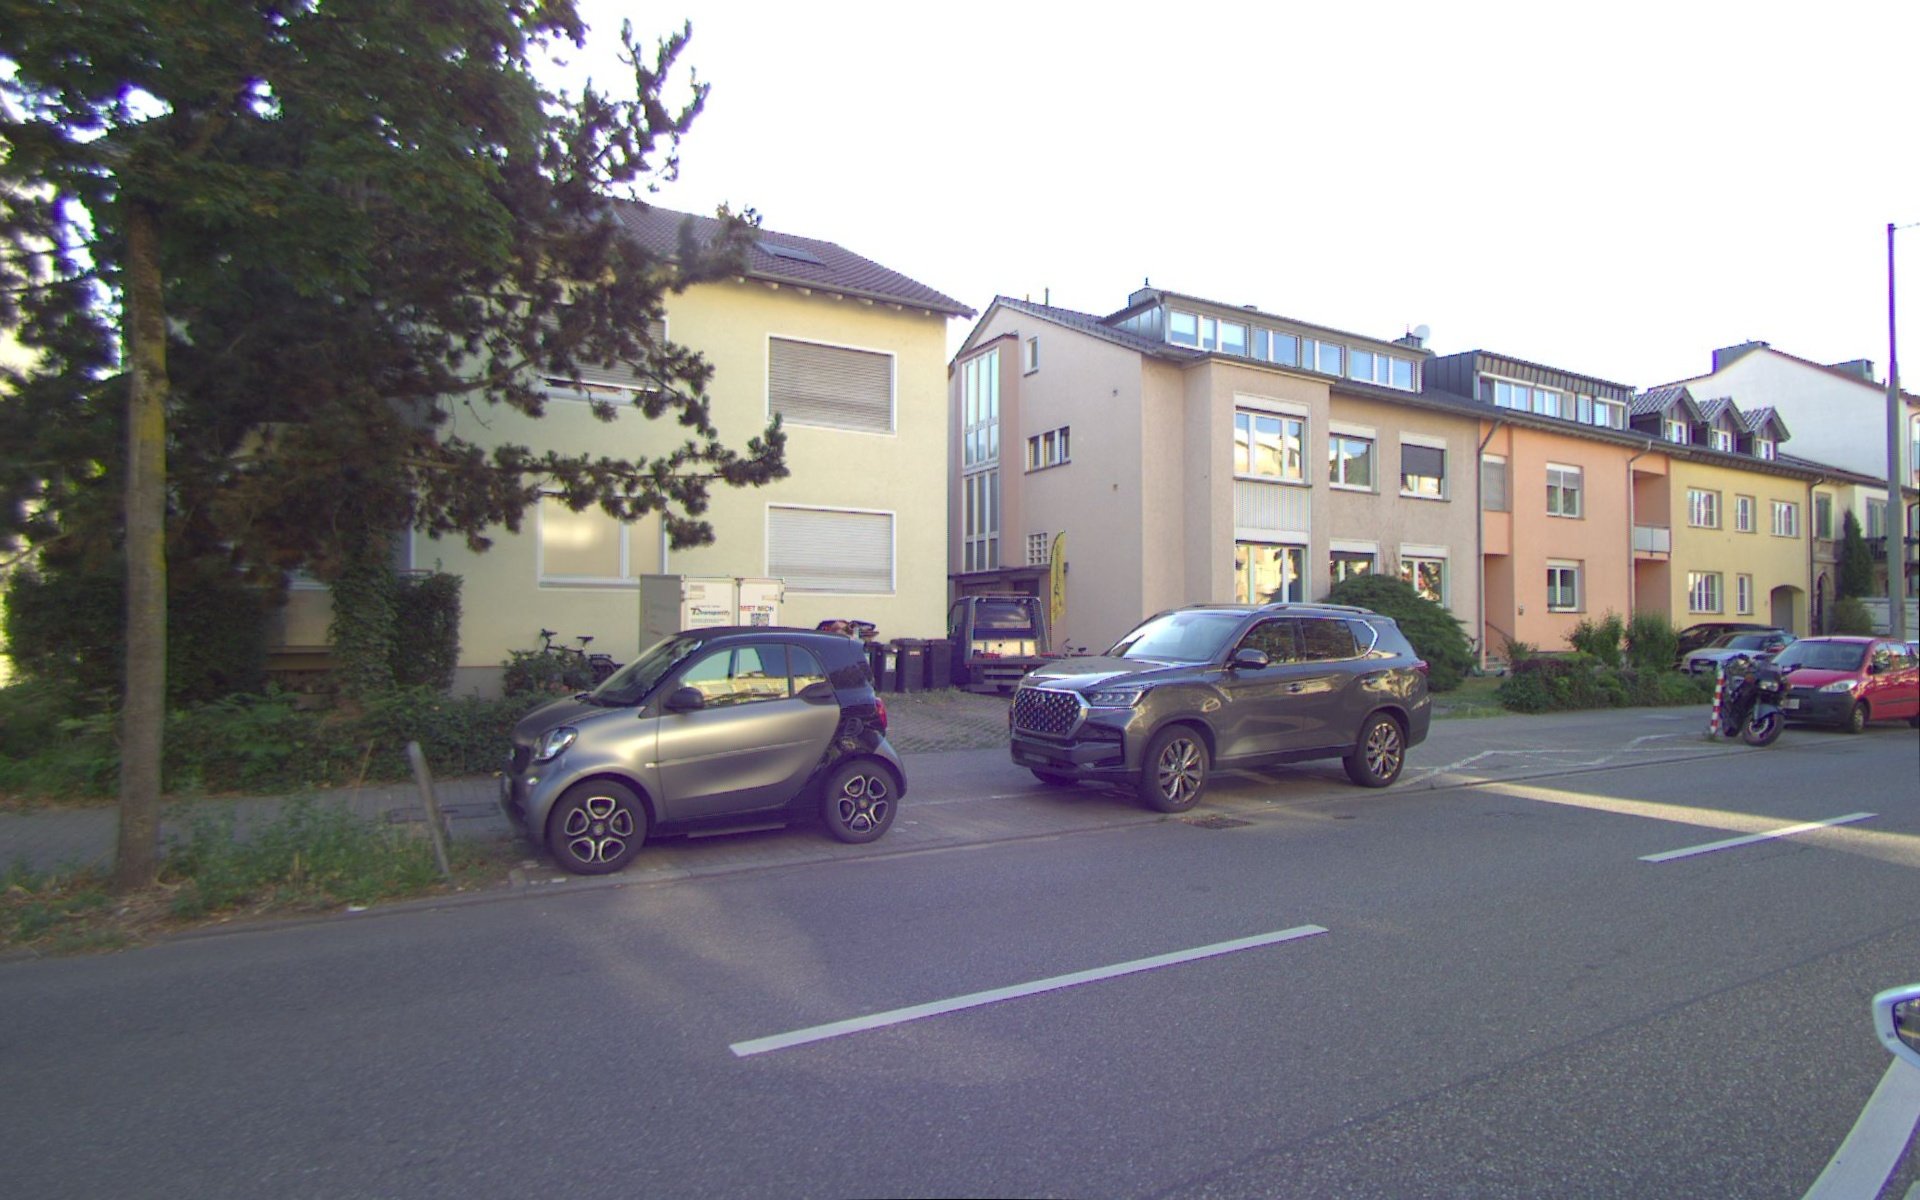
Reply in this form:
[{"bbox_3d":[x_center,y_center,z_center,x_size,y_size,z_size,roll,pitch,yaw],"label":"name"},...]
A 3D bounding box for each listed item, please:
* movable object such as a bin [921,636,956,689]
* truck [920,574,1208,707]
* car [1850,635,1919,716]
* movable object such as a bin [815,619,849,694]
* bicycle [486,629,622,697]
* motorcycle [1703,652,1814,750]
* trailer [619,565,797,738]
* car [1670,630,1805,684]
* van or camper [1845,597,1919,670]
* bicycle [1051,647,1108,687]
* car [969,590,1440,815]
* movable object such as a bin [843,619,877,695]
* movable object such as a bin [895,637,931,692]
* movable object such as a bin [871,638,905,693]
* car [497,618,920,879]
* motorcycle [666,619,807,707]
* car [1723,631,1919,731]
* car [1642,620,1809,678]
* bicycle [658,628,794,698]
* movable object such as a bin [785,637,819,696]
[{"bbox_3d":[-0.425,1.229,19.919,0.543,1.044,0.478,1,-2,-29],"label":"movable object such as a bin"},{"bbox_3d":[1.748,0.778,20.239,2.249,2.214,6.864,1,-2,-29],"label":"truck"},{"bbox_3d":[19.890,1.494,20.460,3.847,1.543,1.585,1,-2,-31],"label":"car"},{"bbox_3d":[-2.381,1.053,18.738,0.480,1.376,0.478,1,-2,-29],"label":"movable object such as a bin"},{"bbox_3d":[-6.676,1.019,16.574,2.022,1.078,0.516,1,-2,-31],"label":"bicycle"},{"bbox_3d":[11.730,1.426,14.853,1.164,1.282,2.362,-1,-2,36],"label":"motorcycle"},{"bbox_3d":[-3.428,0.654,13.424,1.535,2.040,2.758,1,-2,-32],"label":"trailer"},{"bbox_3d":[21.820,1.575,28.174,3.706,1.427,1.658,1,-3,-29],"label":"car"},{"bbox_3d":[38.968,1.371,38.811,2.325,2.810,6.764,1,0,-30],"label":"van or camper"},{"bbox_3d":[2.934,1.667,24.804,0.582,0.942,1.589,1,-5,-27],"label":"bicycle"},{"bbox_3d":[2.560,0.888,10.096,4.673,1.802,1.877,1,-2,-32],"label":"car"},{"bbox_3d":[-1.898,1.072,18.975,0.480,1.420,0.478,1,-2,-29],"label":"movable object such as a bin"},{"bbox_3d":[-0.920,1.243,19.567,0.531,1.044,0.478,1,-2,-29],"label":"movable object such as a bin"},{"bbox_3d":[-1.381,1.248,19.269,0.480,1.044,0.478,1,-2,-29],"label":"movable object such as a bin"},{"bbox_3d":[-1.856,0.943,7.469,2.719,1.576,1.565,1,-2,-31],"label":"car"},{"bbox_3d":[-3.727,1.036,16.841,2.232,1.392,0.568,1,-2,-31],"label":"motorcycle"},{"bbox_3d":[14.792,1.319,17.102,3.392,1.543,1.587,1,-2,-28],"label":"car"},{"bbox_3d":[25.013,1.558,32.966,1.843,1.658,3.970,1,0,-28],"label":"car"},{"bbox_3d":[-4.047,1.070,17.489,2.232,1.156,0.567,1,-1,-31],"label":"bicycle"},{"bbox_3d":[-2.899,1.209,18.401,0.480,1.044,0.478,1,-2,-29],"label":"movable object such as a bin"}]
